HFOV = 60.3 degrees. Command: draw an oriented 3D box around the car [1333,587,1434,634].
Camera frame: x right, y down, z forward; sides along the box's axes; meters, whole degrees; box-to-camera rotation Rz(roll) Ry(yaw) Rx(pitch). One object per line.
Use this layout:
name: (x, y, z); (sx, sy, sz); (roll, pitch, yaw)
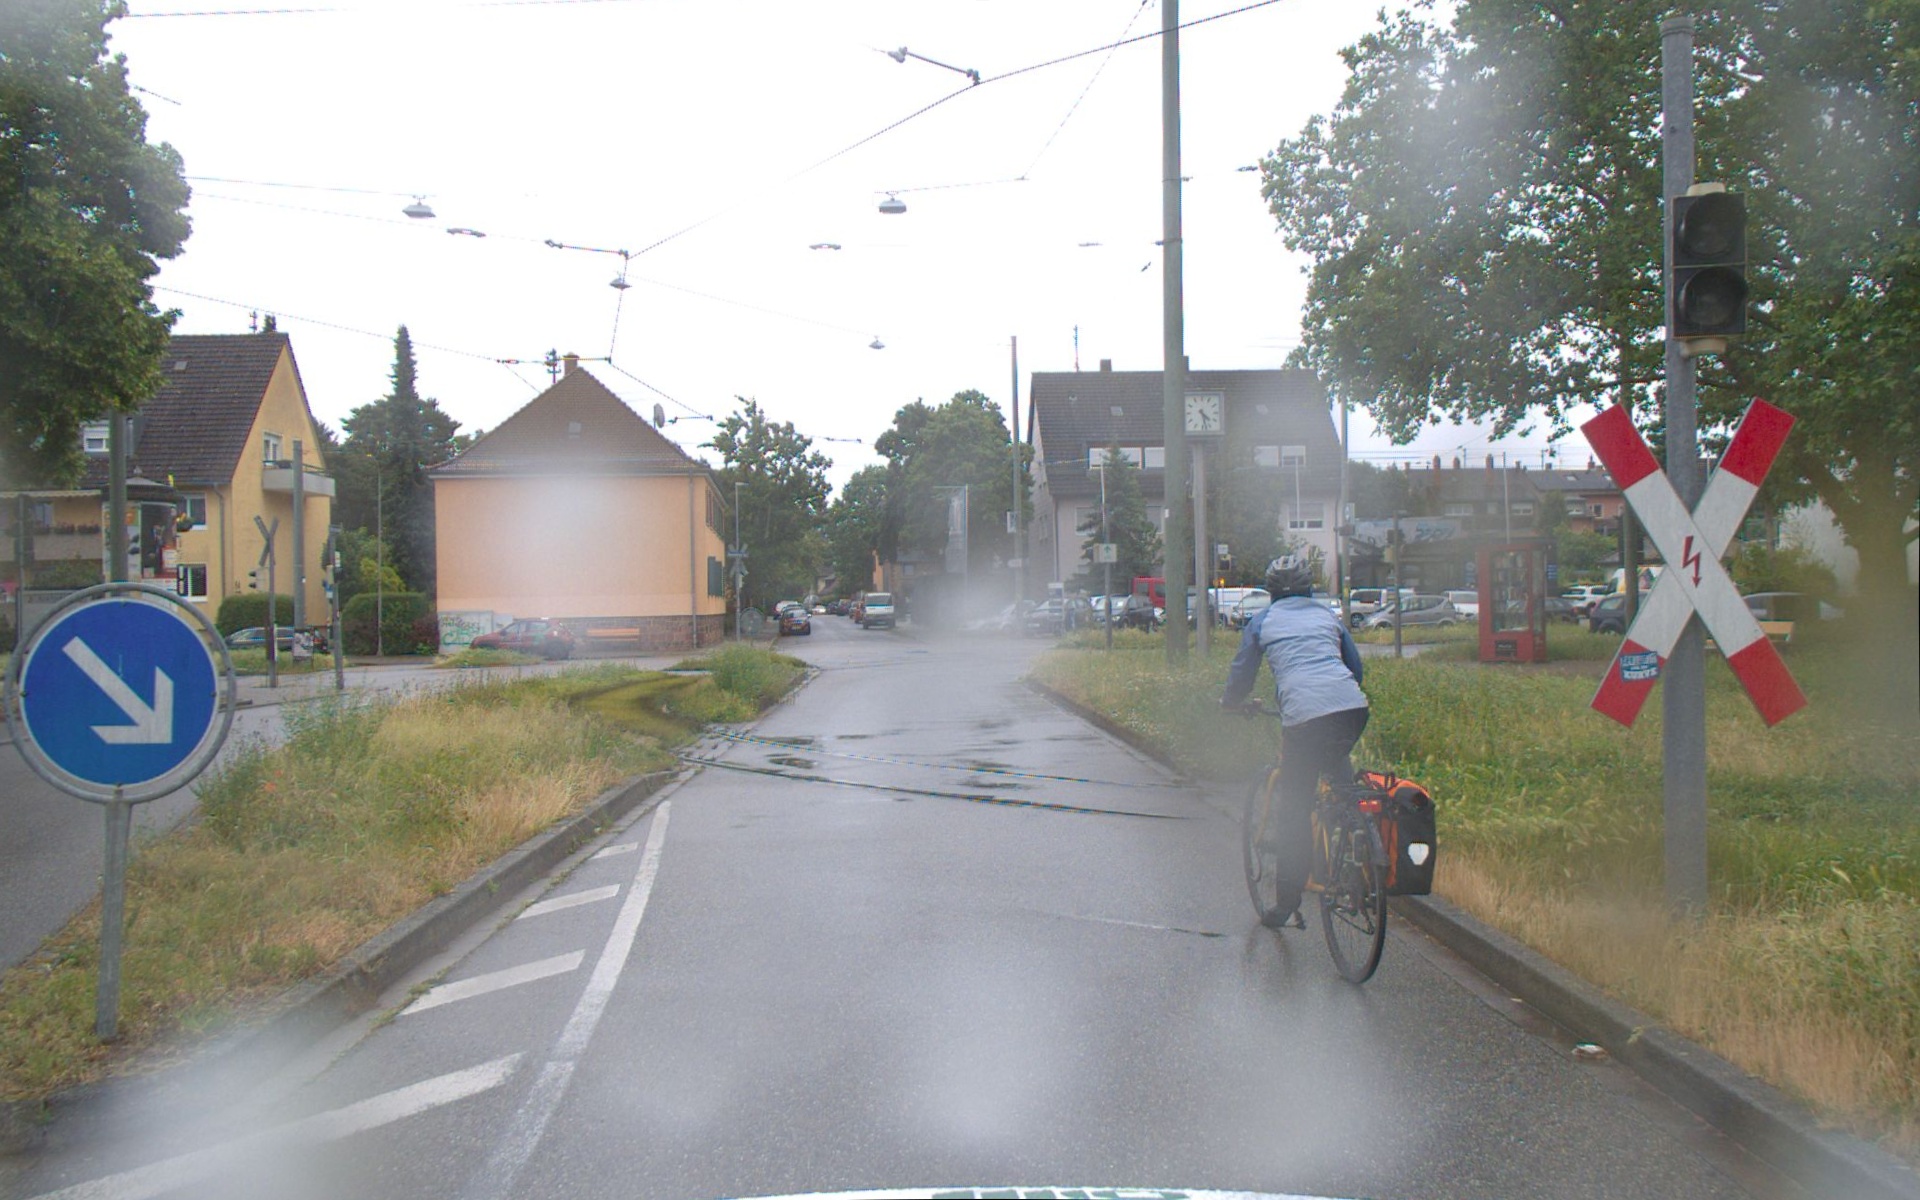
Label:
car: (18.657, 0.484, 73.015); (3.907, 1.985, 1.999); (1, -1, -3)

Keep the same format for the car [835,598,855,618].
car: (-11.169, 0.801, 161.133); (1.768, 1.843, 3.998); (1, -1, -2)

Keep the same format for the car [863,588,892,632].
car: (-5.178, 0.636, 104.594); (1.768, 2.673, 3.998); (1, -1, -2)

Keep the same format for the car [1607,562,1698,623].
car: (29.446, -0.281, 70.430); (1.953, 2.485, 4.352); (1, -1, -2)

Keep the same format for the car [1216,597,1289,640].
car: (11.925, 0.773, 67.257); (1.954, 1.669, 3.997); (0, -1, 25)

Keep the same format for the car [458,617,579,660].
car: (-15.712, 1.366, 59.037); (3.910, 1.482, 1.831); (1, -1, -7)

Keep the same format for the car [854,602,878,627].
car: (-7.059, 1.103, 124.448); (1.768, 1.843, 3.998); (1, -1, -2)

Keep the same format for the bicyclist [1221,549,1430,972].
bicyclist: (1.506, 0.635, 6.922); (0.653, 1.654, 0.852); (1, -1, -2)

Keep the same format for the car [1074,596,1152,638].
car: (6.333, 0.699, 68.161); (1.954, 1.669, 3.997); (0, -1, 25)

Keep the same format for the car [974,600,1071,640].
car: (2.791, 0.906, 73.465); (3.955, 1.705, 1.975); (1, -1, -36)

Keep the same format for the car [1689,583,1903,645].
car: (18.794, 0.306, 37.331); (3.902, 1.308, 1.847); (1, -1, 7)

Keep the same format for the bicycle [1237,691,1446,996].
bicycle: (1.565, 0.953, 7.016); (0.437, 1.022, 1.727); (-1, 0, -1)

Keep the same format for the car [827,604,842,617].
car: (-15.768, 1.353, 207.700); (1.768, 1.591, 3.998); (1, -1, -2)

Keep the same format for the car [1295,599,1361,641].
car: (15.089, 0.824, 67.673); (1.804, 1.669, 3.997); (0, -1, 25)

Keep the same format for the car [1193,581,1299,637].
car: (12.579, 0.403, 72.928); (4.307, 2.366, 1.999); (1, -1, -2)

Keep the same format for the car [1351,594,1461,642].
car: (16.641, 0.670, 61.827); (3.609, 1.731, 1.890); (1, -1, 0)

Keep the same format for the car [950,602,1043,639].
car: (1.713, 0.955, 76.524); (3.955, 1.672, 1.975); (1, -1, -36)

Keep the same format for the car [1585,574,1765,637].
car: (18.160, 0.144, 42.094); (3.849, 1.522, 1.798); (0, -1, 44)

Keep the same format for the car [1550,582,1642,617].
car: (31.690, -0.024, 82.458); (3.905, 1.669, 1.846); (1, -1, 0)

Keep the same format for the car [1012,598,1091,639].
car: (3.876, 0.788, 69.385); (1.954, 1.669, 3.997); (0, -1, 25)

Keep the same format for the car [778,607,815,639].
car: (-9.102, 1.279, 92.207); (1.768, 1.680, 3.998); (1, -1, -2)

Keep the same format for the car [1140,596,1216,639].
car: (8.870, 0.725, 67.013); (1.954, 1.669, 3.997); (0, -1, 25)

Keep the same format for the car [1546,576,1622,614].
car: (34.928, -0.266, 92.658); (1.963, 2.049, 3.979); (1, -1, -18)

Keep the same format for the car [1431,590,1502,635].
car: (21.103, 0.524, 69.050); (1.952, 1.822, 4.002); (1, -1, 4)

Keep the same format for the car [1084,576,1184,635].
car: (8.064, 0.251, 76.459); (4.301, 2.611, 2.001); (1, -1, 14)

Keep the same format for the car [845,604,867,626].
car: (-9.039, 1.281, 143.914); (1.768, 1.843, 3.998); (1, -1, -2)

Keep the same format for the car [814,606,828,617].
car: (-18.857, 1.541, 224.856); (1.768, 1.486, 3.998); (1, -1, -2)

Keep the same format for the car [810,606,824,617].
car: (-19.924, 1.582, 230.138); (1.768, 1.486, 3.998); (1, -1, -2)

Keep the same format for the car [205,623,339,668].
car: (-23.975, 1.564, 57.723); (3.910, 1.482, 1.831); (1, -1, -7)

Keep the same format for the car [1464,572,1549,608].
car: (29.219, -0.537, 88.518); (3.904, 1.822, 2.001); (1, -1, 2)
